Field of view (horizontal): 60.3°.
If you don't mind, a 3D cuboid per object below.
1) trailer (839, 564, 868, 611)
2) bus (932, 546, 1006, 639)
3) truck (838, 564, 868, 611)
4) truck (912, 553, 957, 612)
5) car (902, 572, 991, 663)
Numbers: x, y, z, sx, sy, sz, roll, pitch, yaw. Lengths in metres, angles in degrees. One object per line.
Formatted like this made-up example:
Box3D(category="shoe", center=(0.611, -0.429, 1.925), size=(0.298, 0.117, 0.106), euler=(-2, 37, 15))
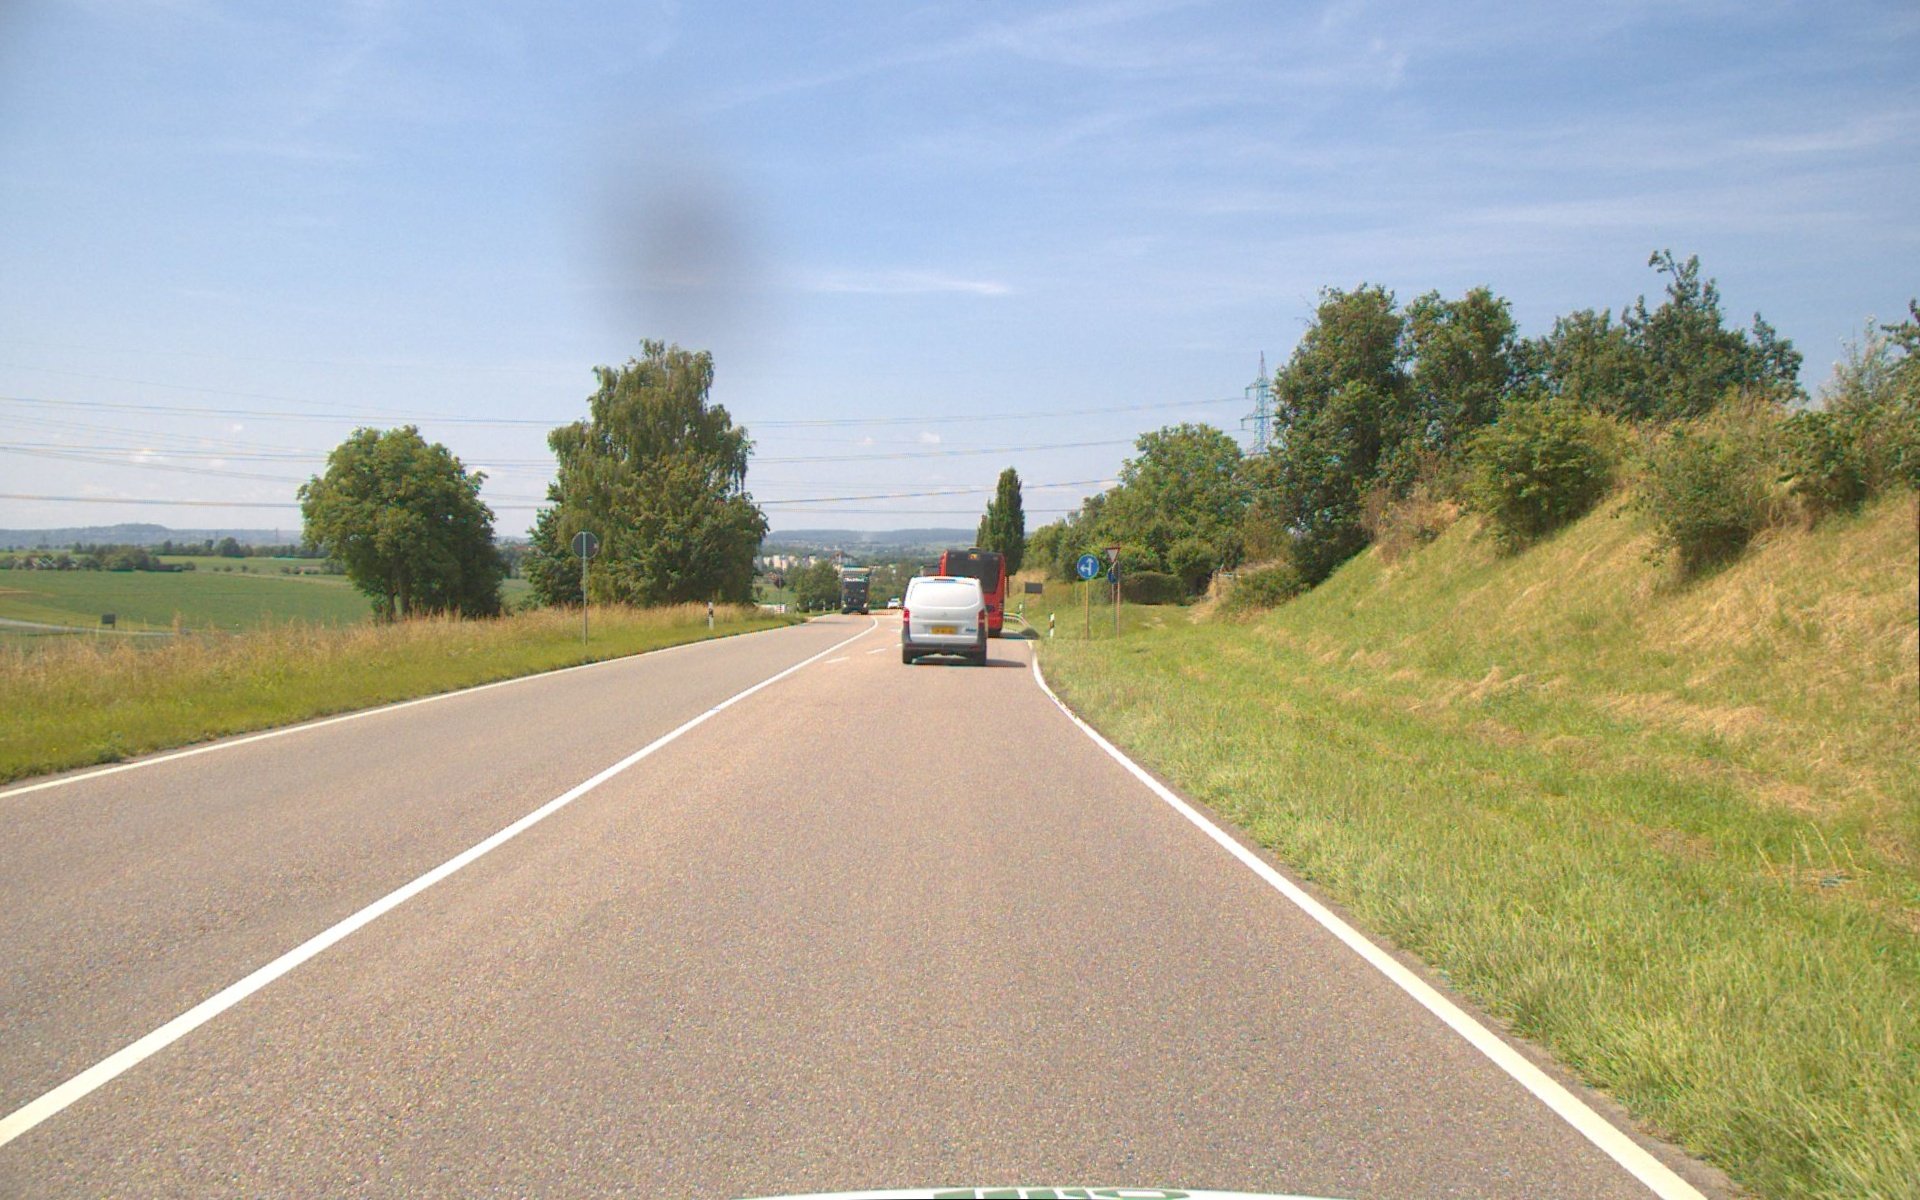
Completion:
Box3D(category="trailer", center=(-10.061, -1.104, 157.047), size=(2.541, 4.215, 13.732), euler=(1, 0, -3))
Box3D(category="bus", center=(0.302, -0.493, 68.676), size=(2.691, 3.411, 13.222), euler=(-2, 2, 0))
Box3D(category="truck", center=(-9.700, -1.102, 150.038), size=(2.533, 4.176, 5.438), euler=(1, 0, -3))
Box3D(category="truck", center=(-2.148, -1.385, 135.822), size=(3.417, 4.500, 14.899), euler=(-1, 0, -1))
Box3D(category="car", center=(-0.289, 0.353, 37.194), size=(1.884, 1.922, 4.000), euler=(-1, 0, 0))
